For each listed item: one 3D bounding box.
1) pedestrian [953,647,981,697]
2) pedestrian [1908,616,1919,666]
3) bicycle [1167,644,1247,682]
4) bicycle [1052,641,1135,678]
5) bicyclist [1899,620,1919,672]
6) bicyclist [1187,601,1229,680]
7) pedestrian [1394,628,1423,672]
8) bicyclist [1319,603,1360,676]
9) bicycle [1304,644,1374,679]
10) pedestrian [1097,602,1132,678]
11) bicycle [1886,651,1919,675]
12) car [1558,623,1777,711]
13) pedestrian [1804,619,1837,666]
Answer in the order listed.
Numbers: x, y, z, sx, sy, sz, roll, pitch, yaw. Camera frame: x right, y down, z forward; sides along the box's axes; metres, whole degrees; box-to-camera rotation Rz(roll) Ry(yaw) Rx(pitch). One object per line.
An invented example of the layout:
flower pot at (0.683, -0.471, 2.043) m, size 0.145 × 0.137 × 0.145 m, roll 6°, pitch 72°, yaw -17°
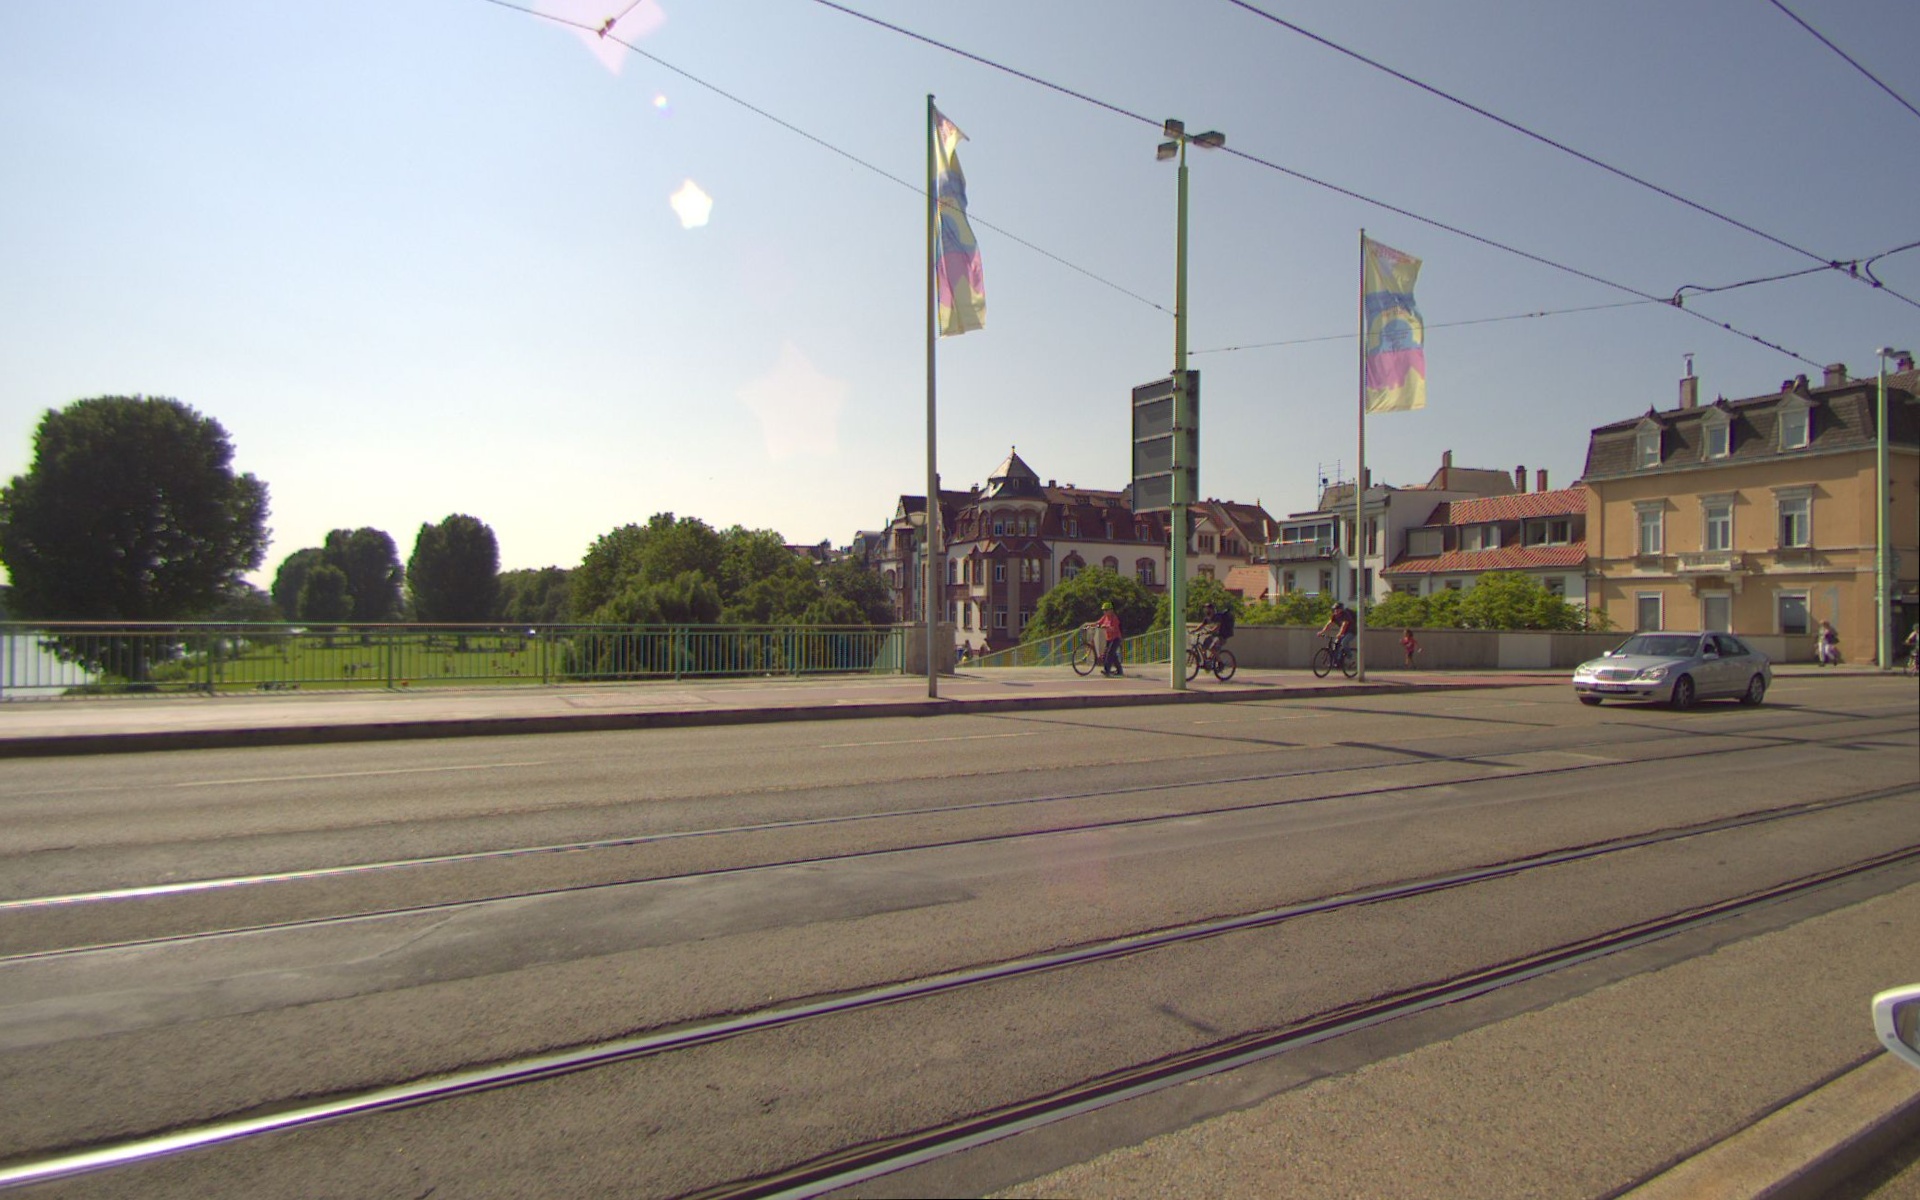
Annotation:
pedestrian at (0.253, 2.693, 37.737) m, size 0.791 × 1.804 × 0.743 m, roll 1°, pitch -1°, yaw -26°
pedestrian at (35.205, 1.521, 36.531) m, size 0.778 × 1.790 × 0.733 m, roll 1°, pitch 4°, yaw -30°
bicycle at (5.367, 1.359, 21.777) m, size 1.750 × 0.726 × 0.617 m, roll 0°, pitch 1°, yaw -30°
bicycle at (3.032, 1.336, 22.795) m, size 1.912 × 0.726 × 0.617 m, roll 0°, pitch 1°, yaw -32°
bicyclist at (31.504, 1.519, 33.066) m, size 0.612 × 1.672 × 0.626 m, roll 0°, pitch 2°, yaw -21°
bicyclist at (5.389, 0.857, 21.823) m, size 0.614 × 1.672 × 0.624 m, roll 0°, pitch 2°, yaw -29°
pedestrian at (12.493, 1.388, 28.006) m, size 0.536 × 1.161 × 0.411 m, roll 2°, pitch 3°, yaw -17°
bicyclist at (8.993, 0.918, 23.809) m, size 0.614 × 1.672 × 0.624 m, roll 0°, pitch 2°, yaw -29°
bicycle at (8.991, 1.450, 23.812) m, size 1.711 × 0.726 × 0.617 m, roll 0°, pitch 1°, yaw -30°
pedestrian at (3.448, 0.884, 22.424) m, size 0.620 × 1.654 × 0.410 m, roll 1°, pitch 2°, yaw -32°
bicycle at (31.477, 2.060, 33.072) m, size 2.014 × 0.726 × 0.619 m, roll 1°, pitch 1°, yaw -21°
car at (13.413, 1.208, 18.994) m, size 4.321 × 1.480 × 1.723 m, roll 1°, pitch -1°, yaw -30°
pedestrian at (31.045, 1.529, 36.239) m, size 0.559 × 1.624 × 0.646 m, roll -1°, pitch 5°, yaw -29°
